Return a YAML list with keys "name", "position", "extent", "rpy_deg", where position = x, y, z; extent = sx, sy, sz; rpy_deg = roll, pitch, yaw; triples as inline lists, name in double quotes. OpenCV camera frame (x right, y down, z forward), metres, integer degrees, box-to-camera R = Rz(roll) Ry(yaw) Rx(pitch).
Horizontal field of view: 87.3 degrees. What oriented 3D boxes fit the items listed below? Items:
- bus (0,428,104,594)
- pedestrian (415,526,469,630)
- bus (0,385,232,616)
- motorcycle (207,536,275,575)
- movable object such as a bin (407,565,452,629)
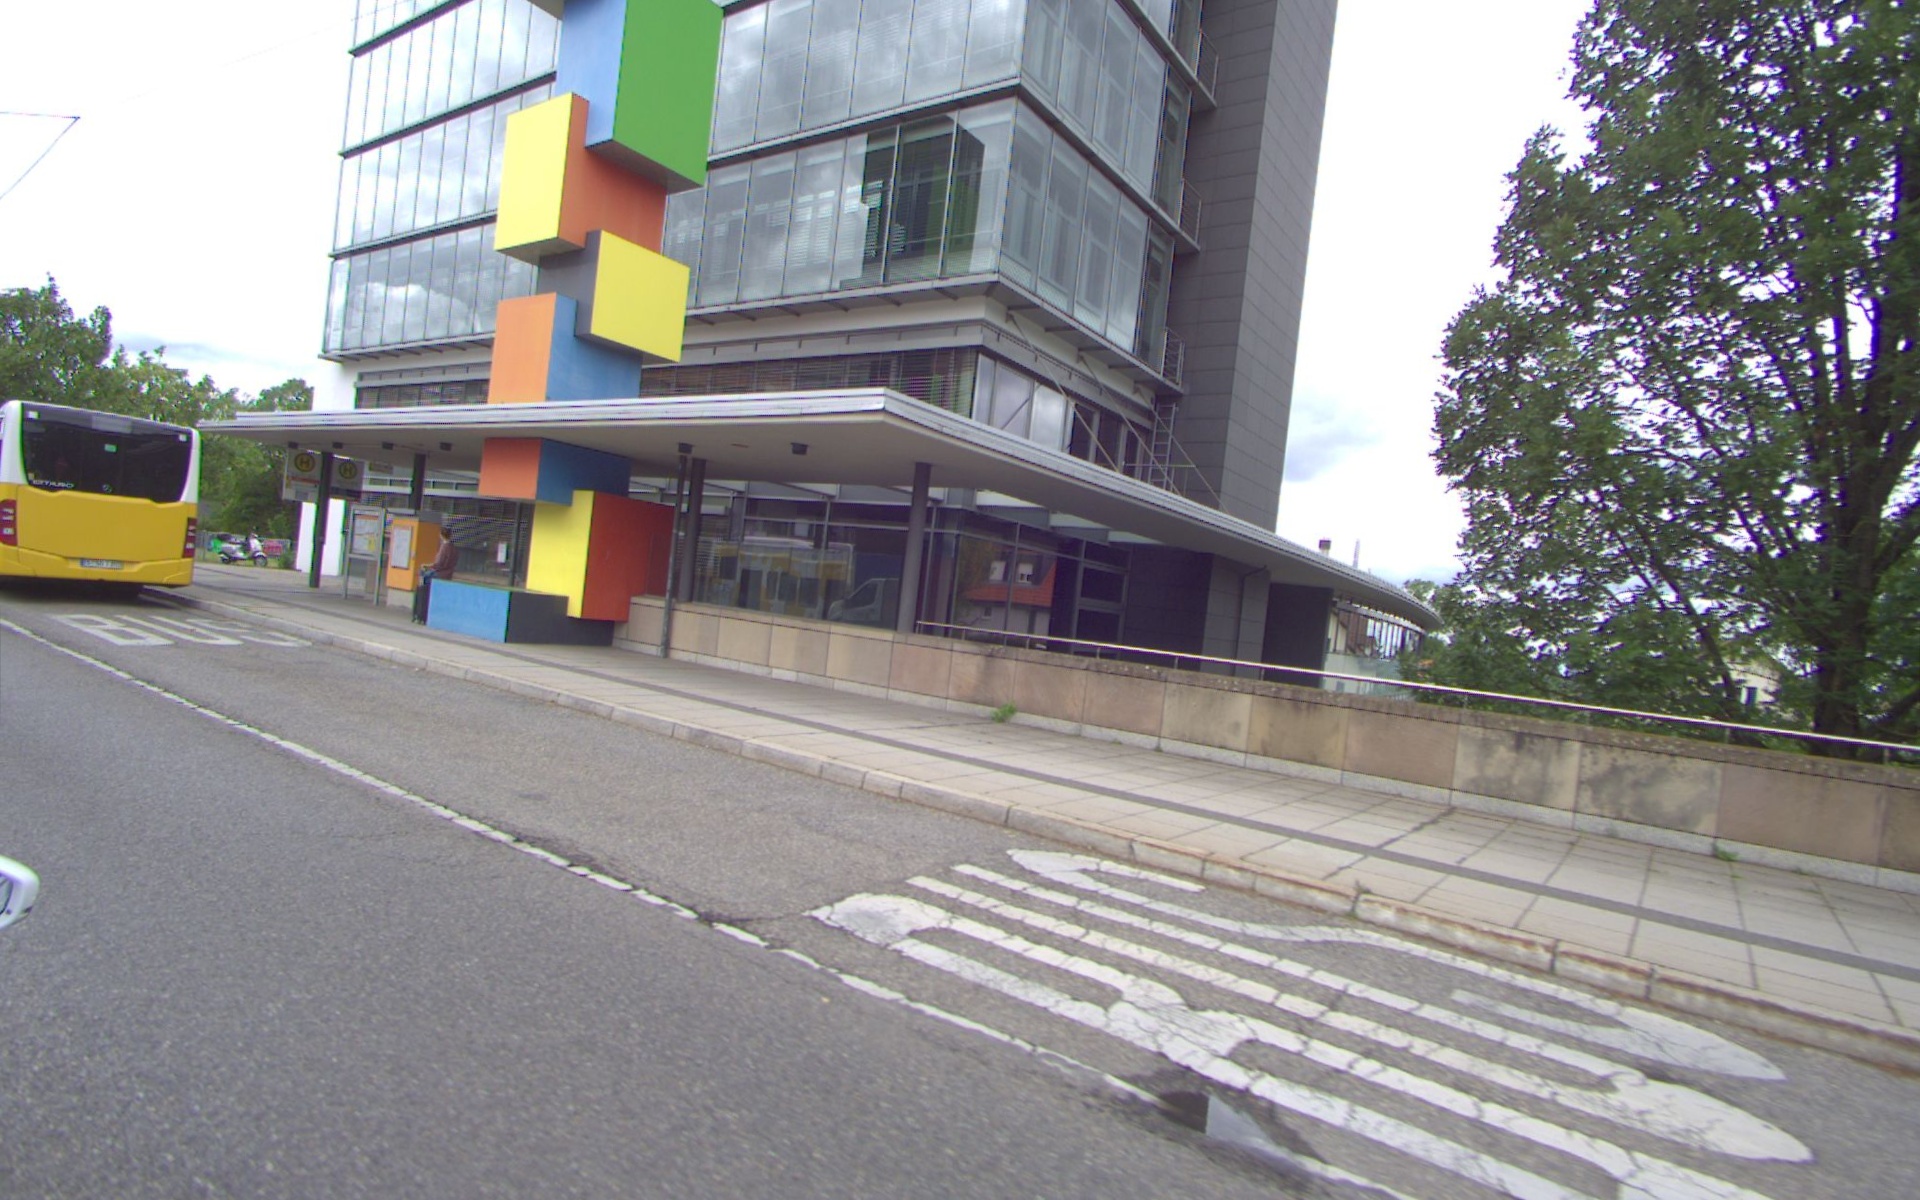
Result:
- name: "bus"
  position: [-23.946, -2.232, 24.215]
  extent: [9.722, 3.276, 2.984]
  rpy_deg: [4, -4, 39]
- name: "pedestrian"
  position: [-9.132, -0.389, 17.737]
  extent: [0.563, 1.757, 0.508]
  rpy_deg: [6, 0, 36]
- name: "bus"
  position: [-17.075, -1.743, 18.765]
  extent: [9.199, 3.276, 3.033]
  rpy_deg: [5, 0, 38]
- name: "motorcycle"
  position: [-24.925, -1.541, 34.906]
  extent: [1.709, 1.129, 0.825]
  rpy_deg: [6, 0, 4]
- name: "movable object such as a bin"
  position: [-9.160, -0.049, 17.379]
  extent: [0.525, 1.042, 0.420]
  rpy_deg: [6, 0, 36]
